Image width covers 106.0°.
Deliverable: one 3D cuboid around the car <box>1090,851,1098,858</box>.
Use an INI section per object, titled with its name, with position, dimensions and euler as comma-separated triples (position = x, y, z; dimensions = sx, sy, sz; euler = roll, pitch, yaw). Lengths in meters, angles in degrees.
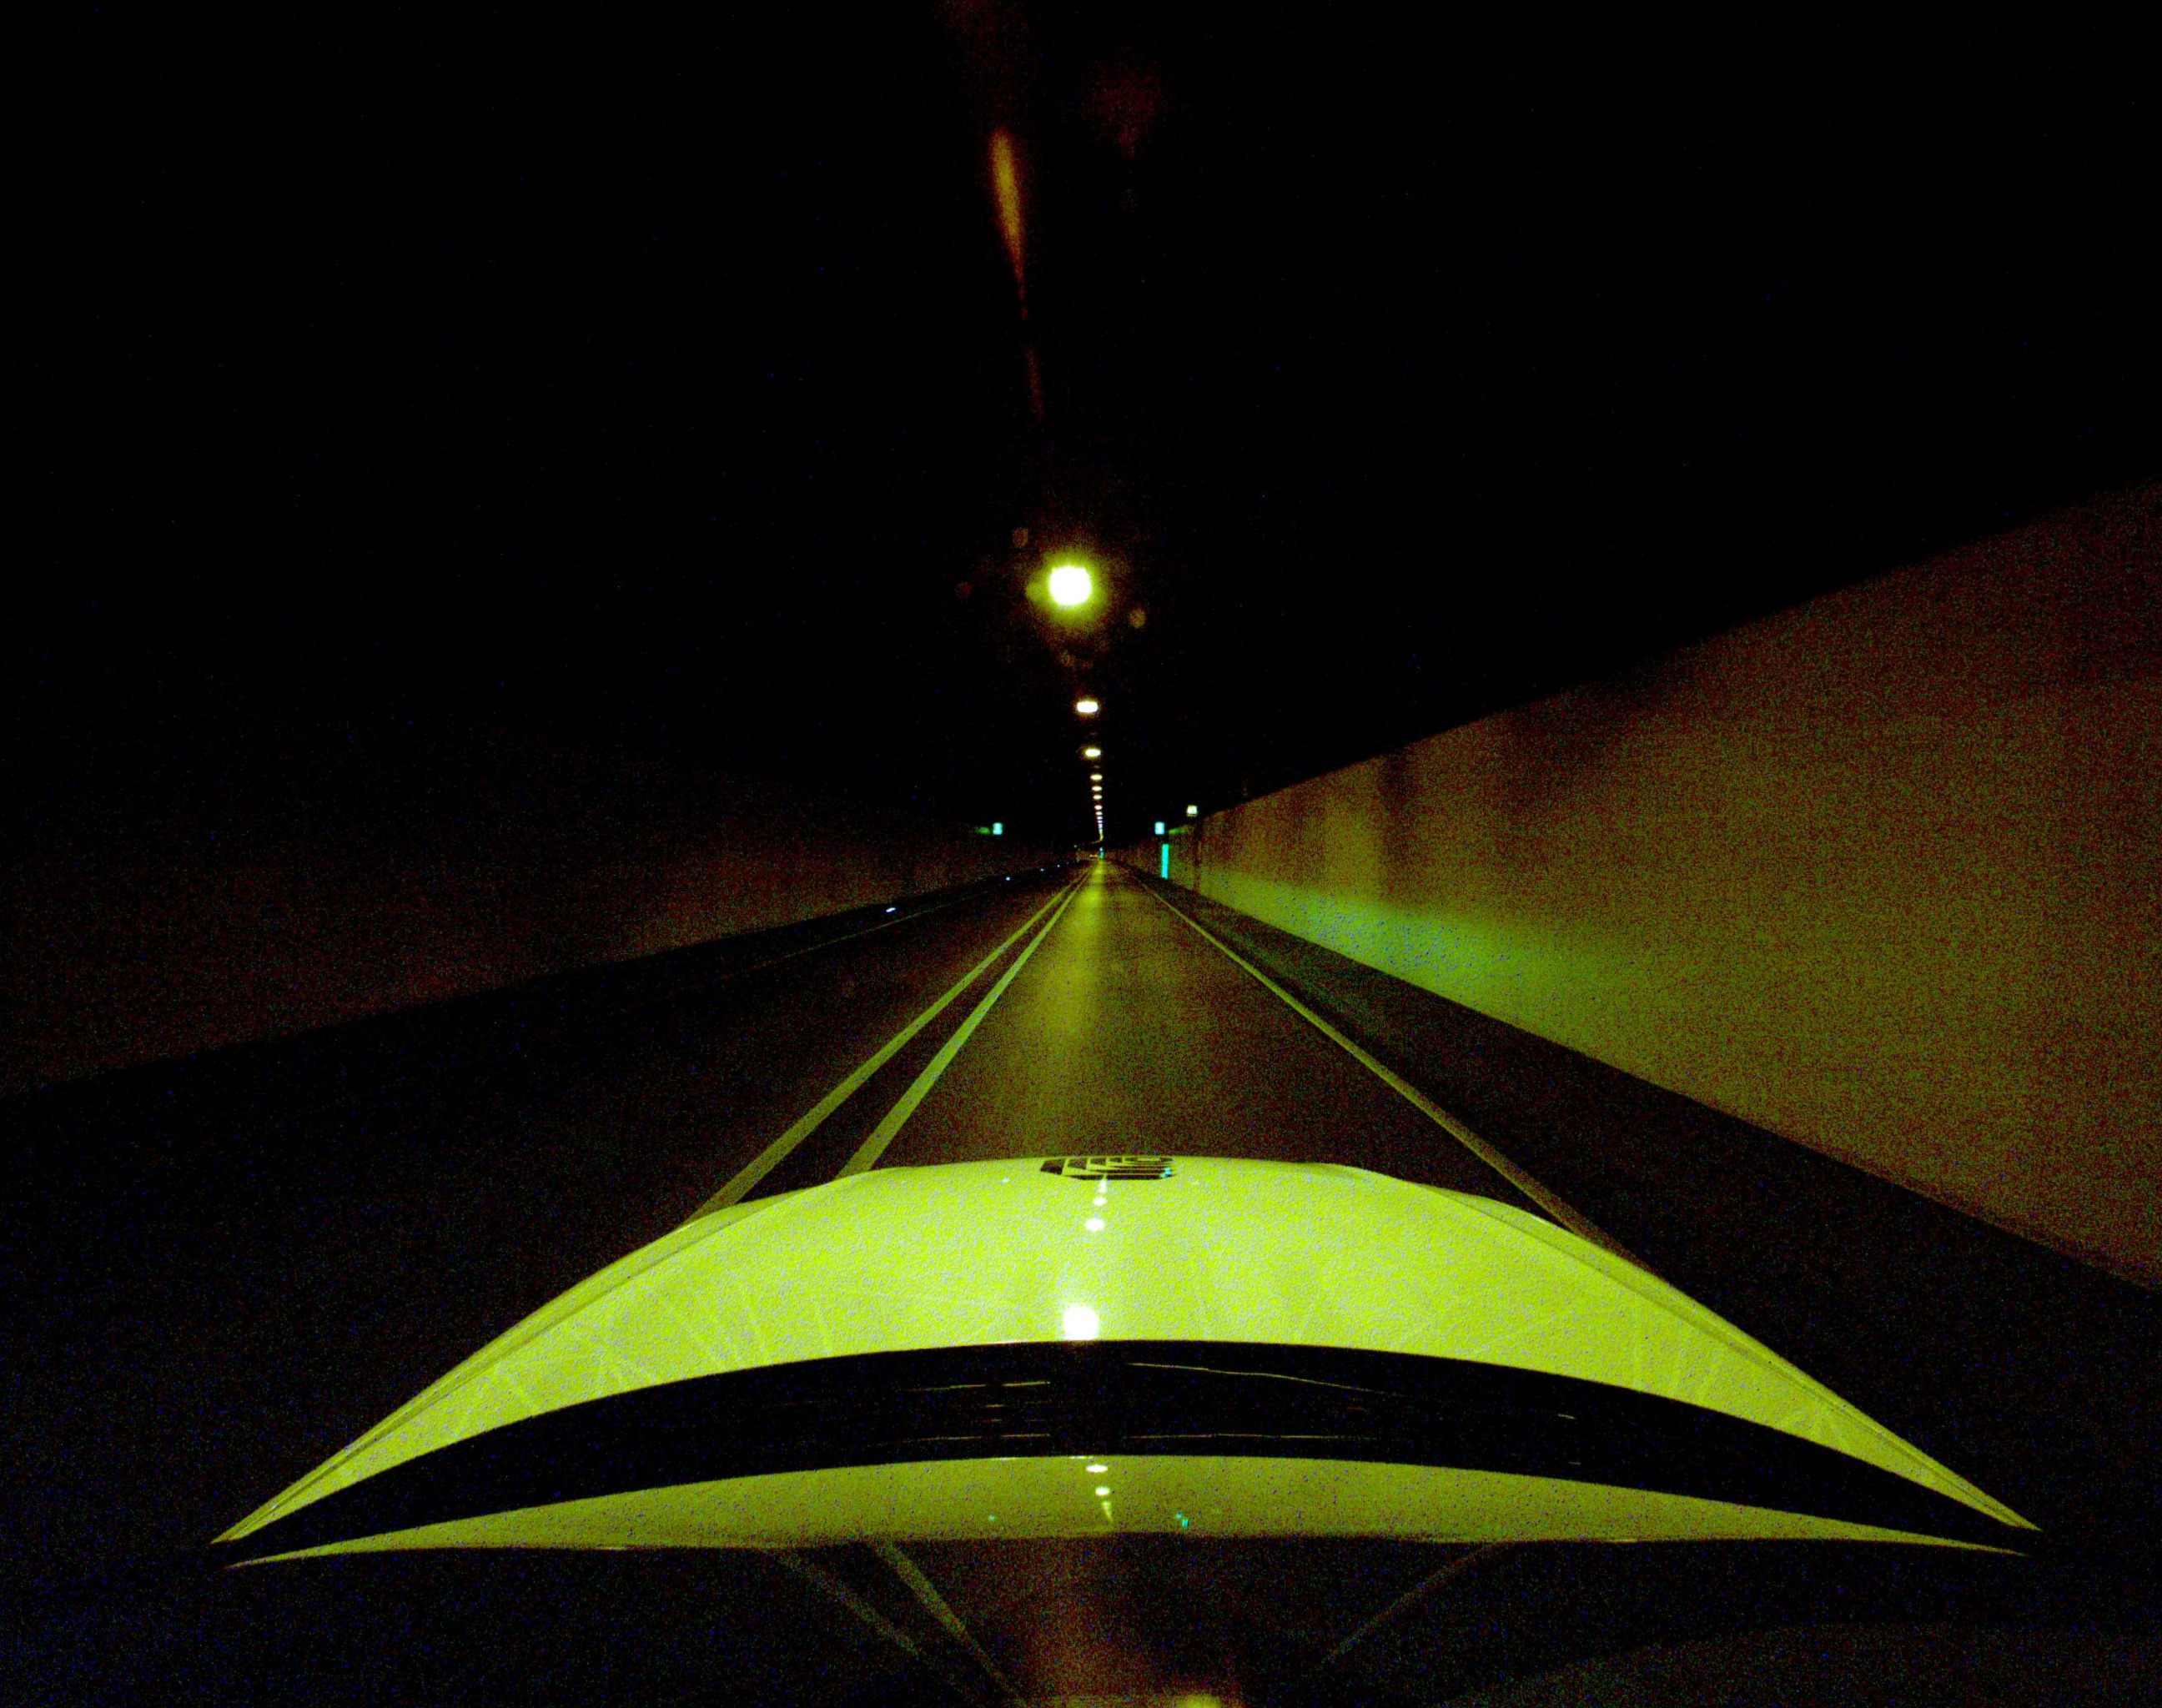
[car]
position = 3.793, 0.242, 239.151
dimensions = 1.962, 1.939, 4.607
euler = 1, -1, -3
